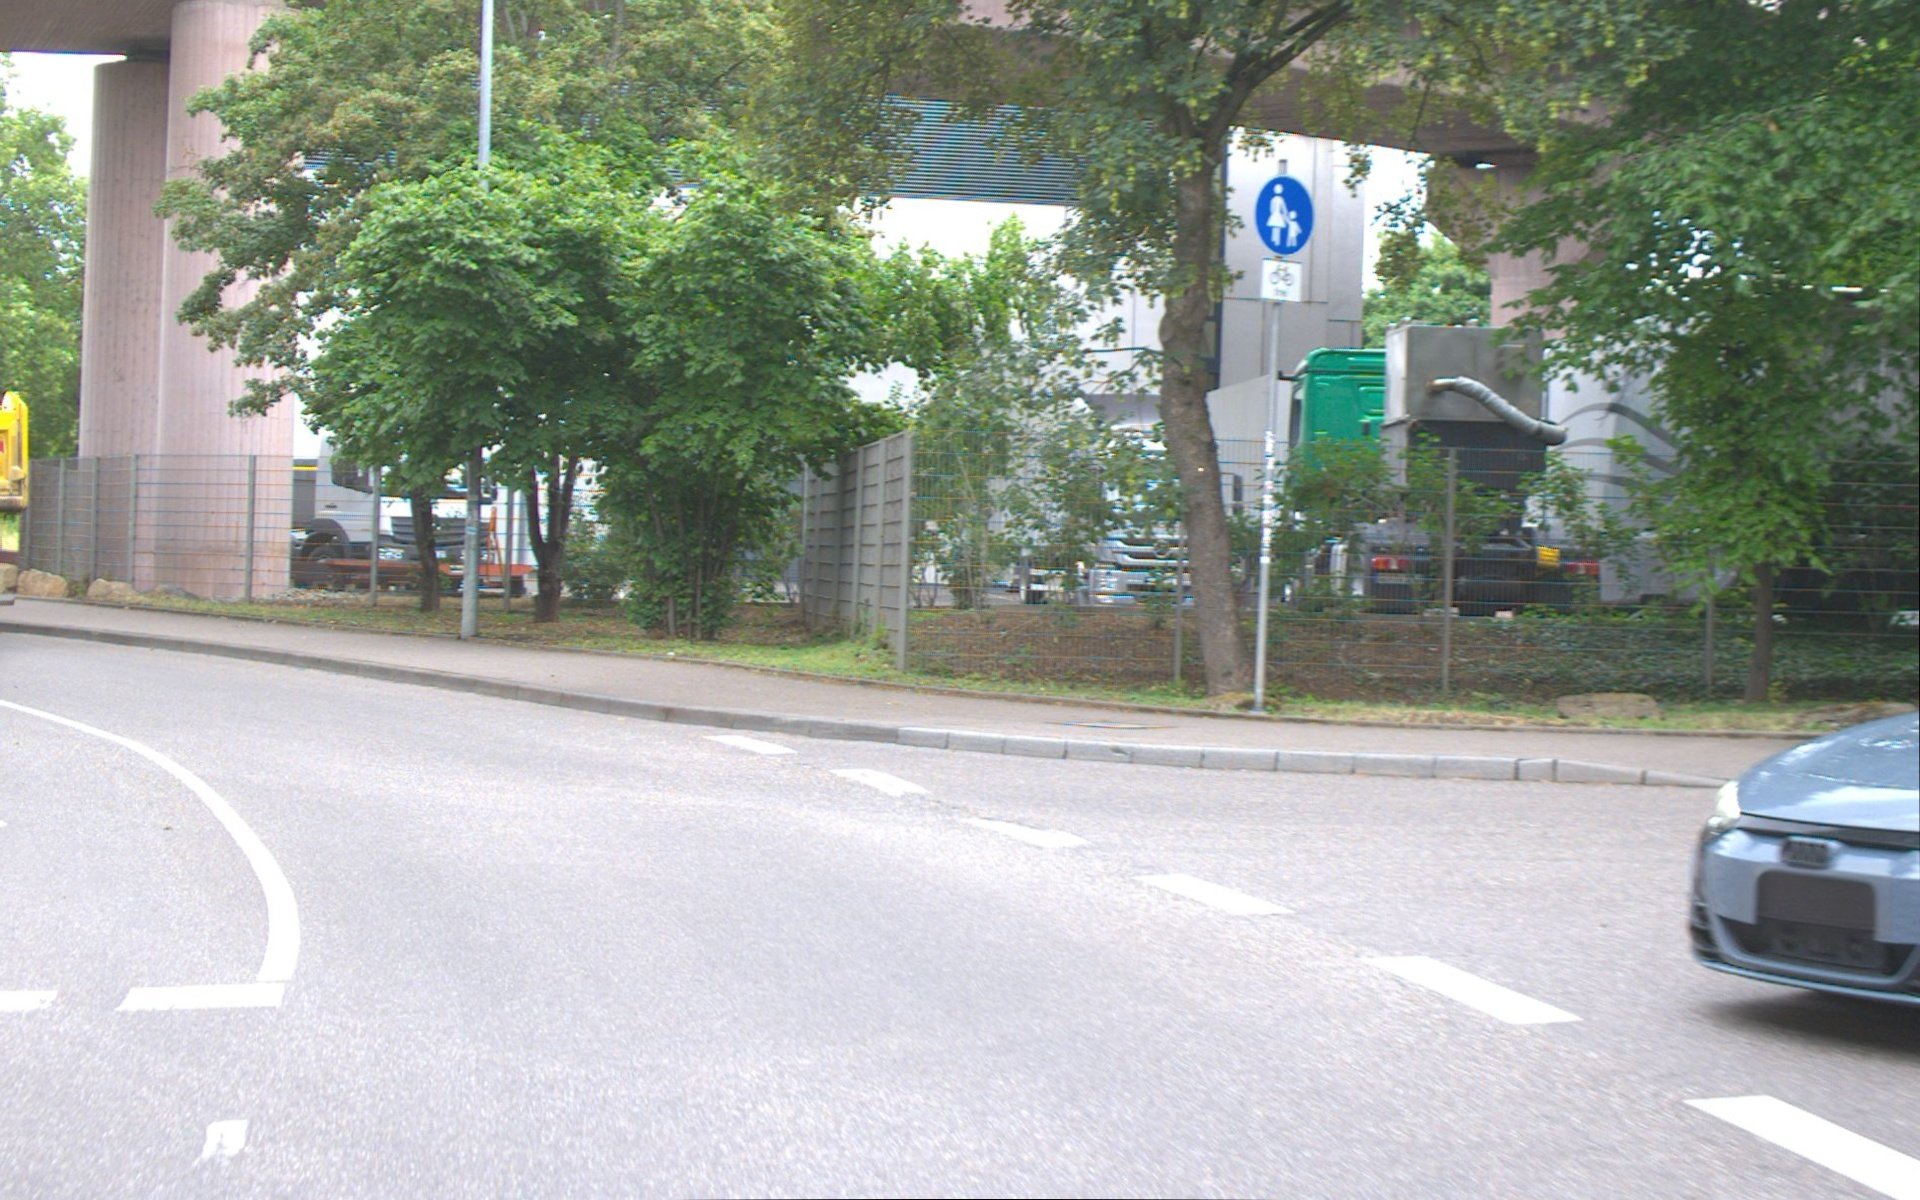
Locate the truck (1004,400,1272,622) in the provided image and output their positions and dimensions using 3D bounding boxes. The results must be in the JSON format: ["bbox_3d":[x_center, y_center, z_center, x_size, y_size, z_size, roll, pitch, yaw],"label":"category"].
[{"bbox_3d":[2.986,-1.636,60.441,3.054,3.606,7.918,1,2,-9],"label":"truck"}]

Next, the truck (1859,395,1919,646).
[{"bbox_3d":[12.683,-0.847,38.266,2.914,2.889,6.560,0,2,-7],"label":"truck"}]

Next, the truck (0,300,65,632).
[{"bbox_3d":[-13.009,-1.483,38.927,2.927,3.469,8.244,-2,2,-34],"label":"truck"}]

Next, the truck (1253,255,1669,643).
[{"bbox_3d":[5.434,-1.666,38.688,3.065,3.949,6.925,0,2,-5],"label":"truck"}]

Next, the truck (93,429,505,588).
[{"bbox_3d":[-11.267,-1.556,58.255,7.223,2.543,2.719,2,1,37],"label":"truck"}]

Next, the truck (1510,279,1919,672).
[{"bbox_3d":[8.705,-1.374,37.883,3.065,3.854,8.051,0,2,-7],"label":"truck"}]

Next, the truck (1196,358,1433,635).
[{"bbox_3d":[6.401,-1.944,63.450,3.202,4.763,8.050,0,2,-2],"label":"truck"}]

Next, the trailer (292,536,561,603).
[{"bbox_3d":[-7.958,-0.482,50.724,2.149,0.740,6.295,-3,3,-26],"label":"trailer"}]

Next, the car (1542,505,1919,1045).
[{"bbox_3d":[4.556,0.487,11.202,4.915,1.496,2.174,0,1,-28],"label":"car"}]
